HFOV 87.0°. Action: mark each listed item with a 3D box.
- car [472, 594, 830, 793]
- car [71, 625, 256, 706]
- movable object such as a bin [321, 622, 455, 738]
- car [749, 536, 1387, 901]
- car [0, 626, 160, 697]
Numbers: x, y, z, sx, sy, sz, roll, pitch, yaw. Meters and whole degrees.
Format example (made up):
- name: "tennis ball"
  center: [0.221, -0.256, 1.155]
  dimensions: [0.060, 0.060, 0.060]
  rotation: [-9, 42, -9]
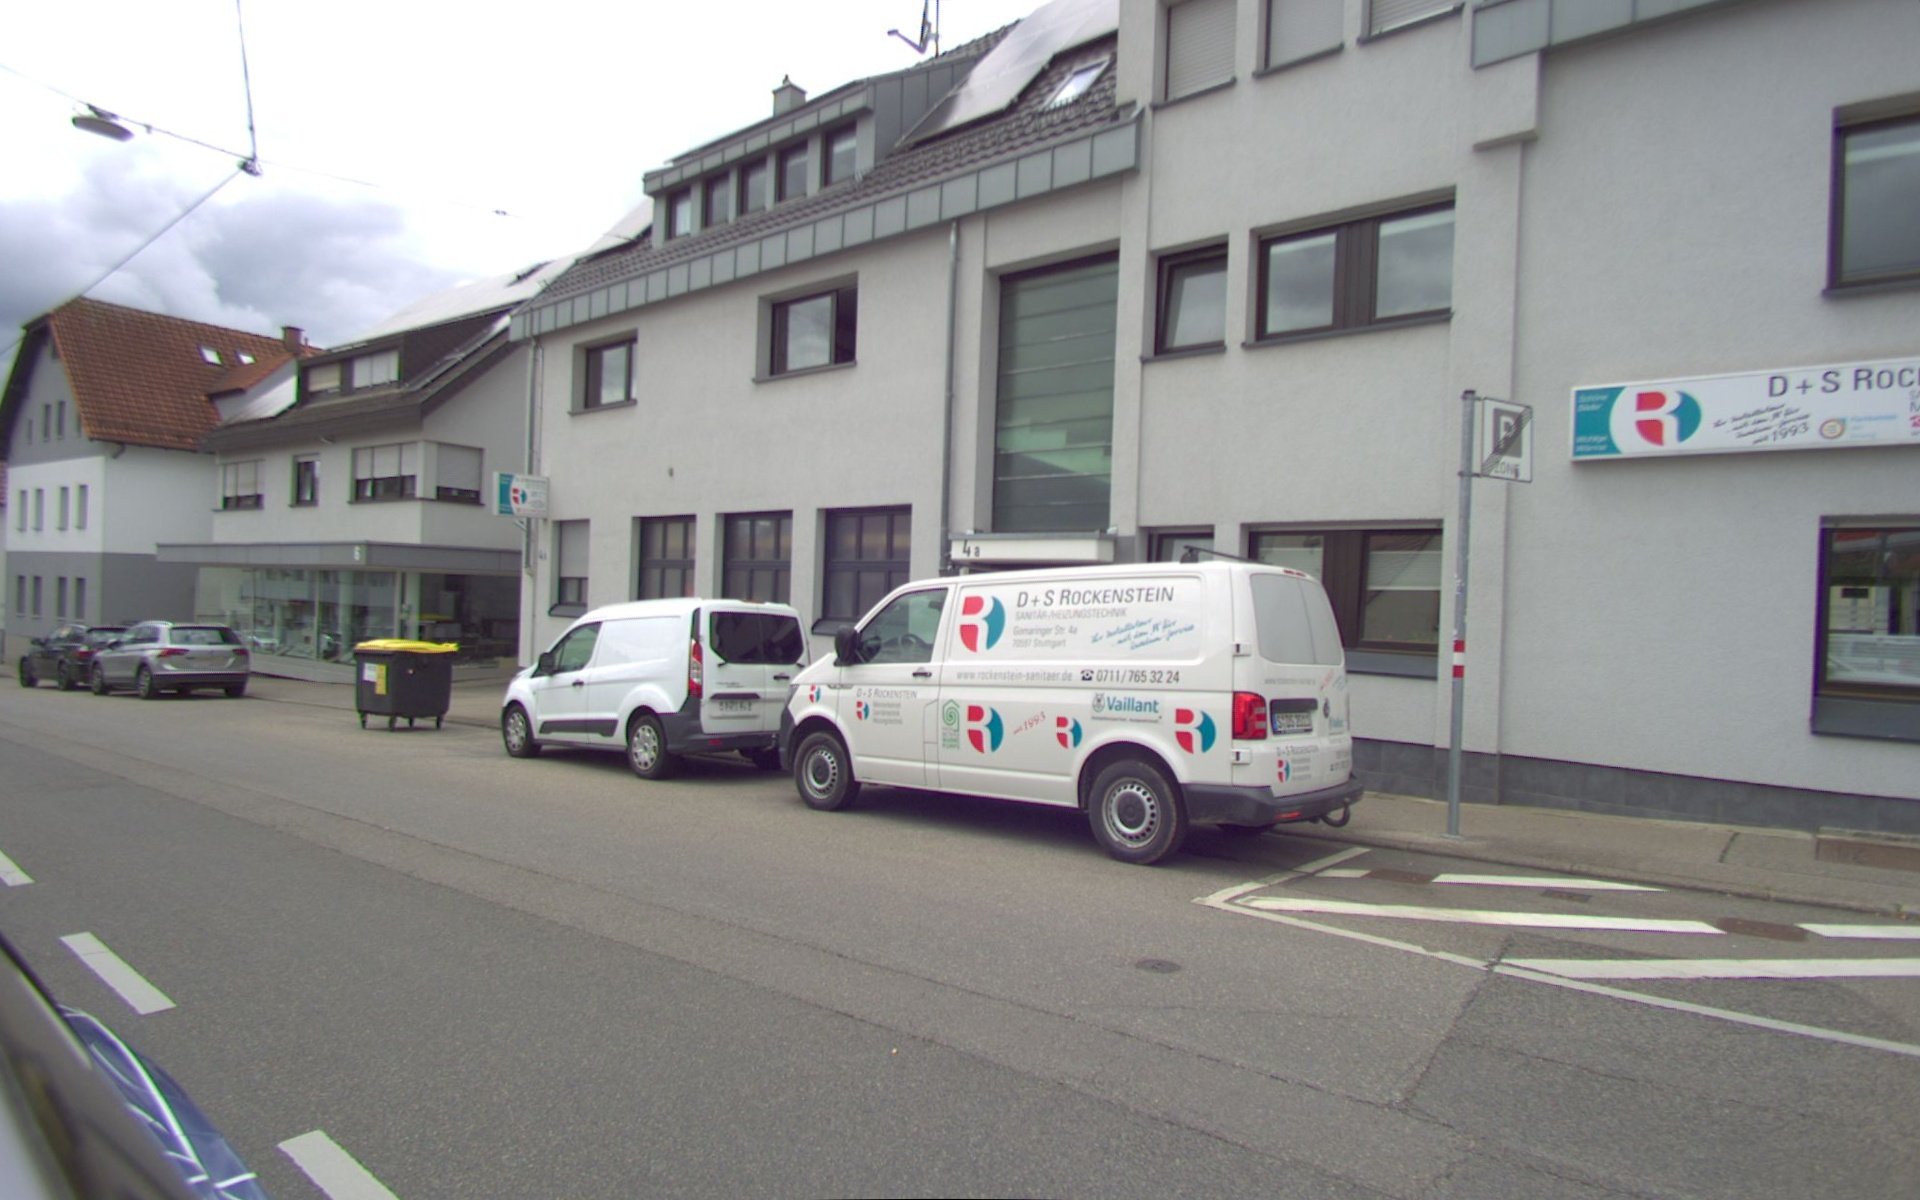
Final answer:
- name: "car"
  center: [-3.607, 0.964, 11.467]
  dimensions: [4.292, 1.846, 1.716]
  rotation: [-2, -4, 39]
- name: "car"
  center: [-17.655, 1.402, 22.389]
  dimensions: [4.394, 1.645, 1.823]
  rotation: [-1, -3, 33]
- name: "movable object such as a bin"
  center: [-8.633, 1.176, 15.295]
  dimensions: [1.558, 1.645, 1.131]
  rotation: [-1, -3, 32]
- name: "car"
  center: [0.573, 0.758, 7.880]
  dimensions: [4.760, 2.021, 1.793]
  rotation: [-2, -4, 41]
- name: "car"
  center: [-22.201, 1.524, 25.495]
  dimensions: [4.394, 1.645, 1.823]
  rotation: [-1, -4, 33]
